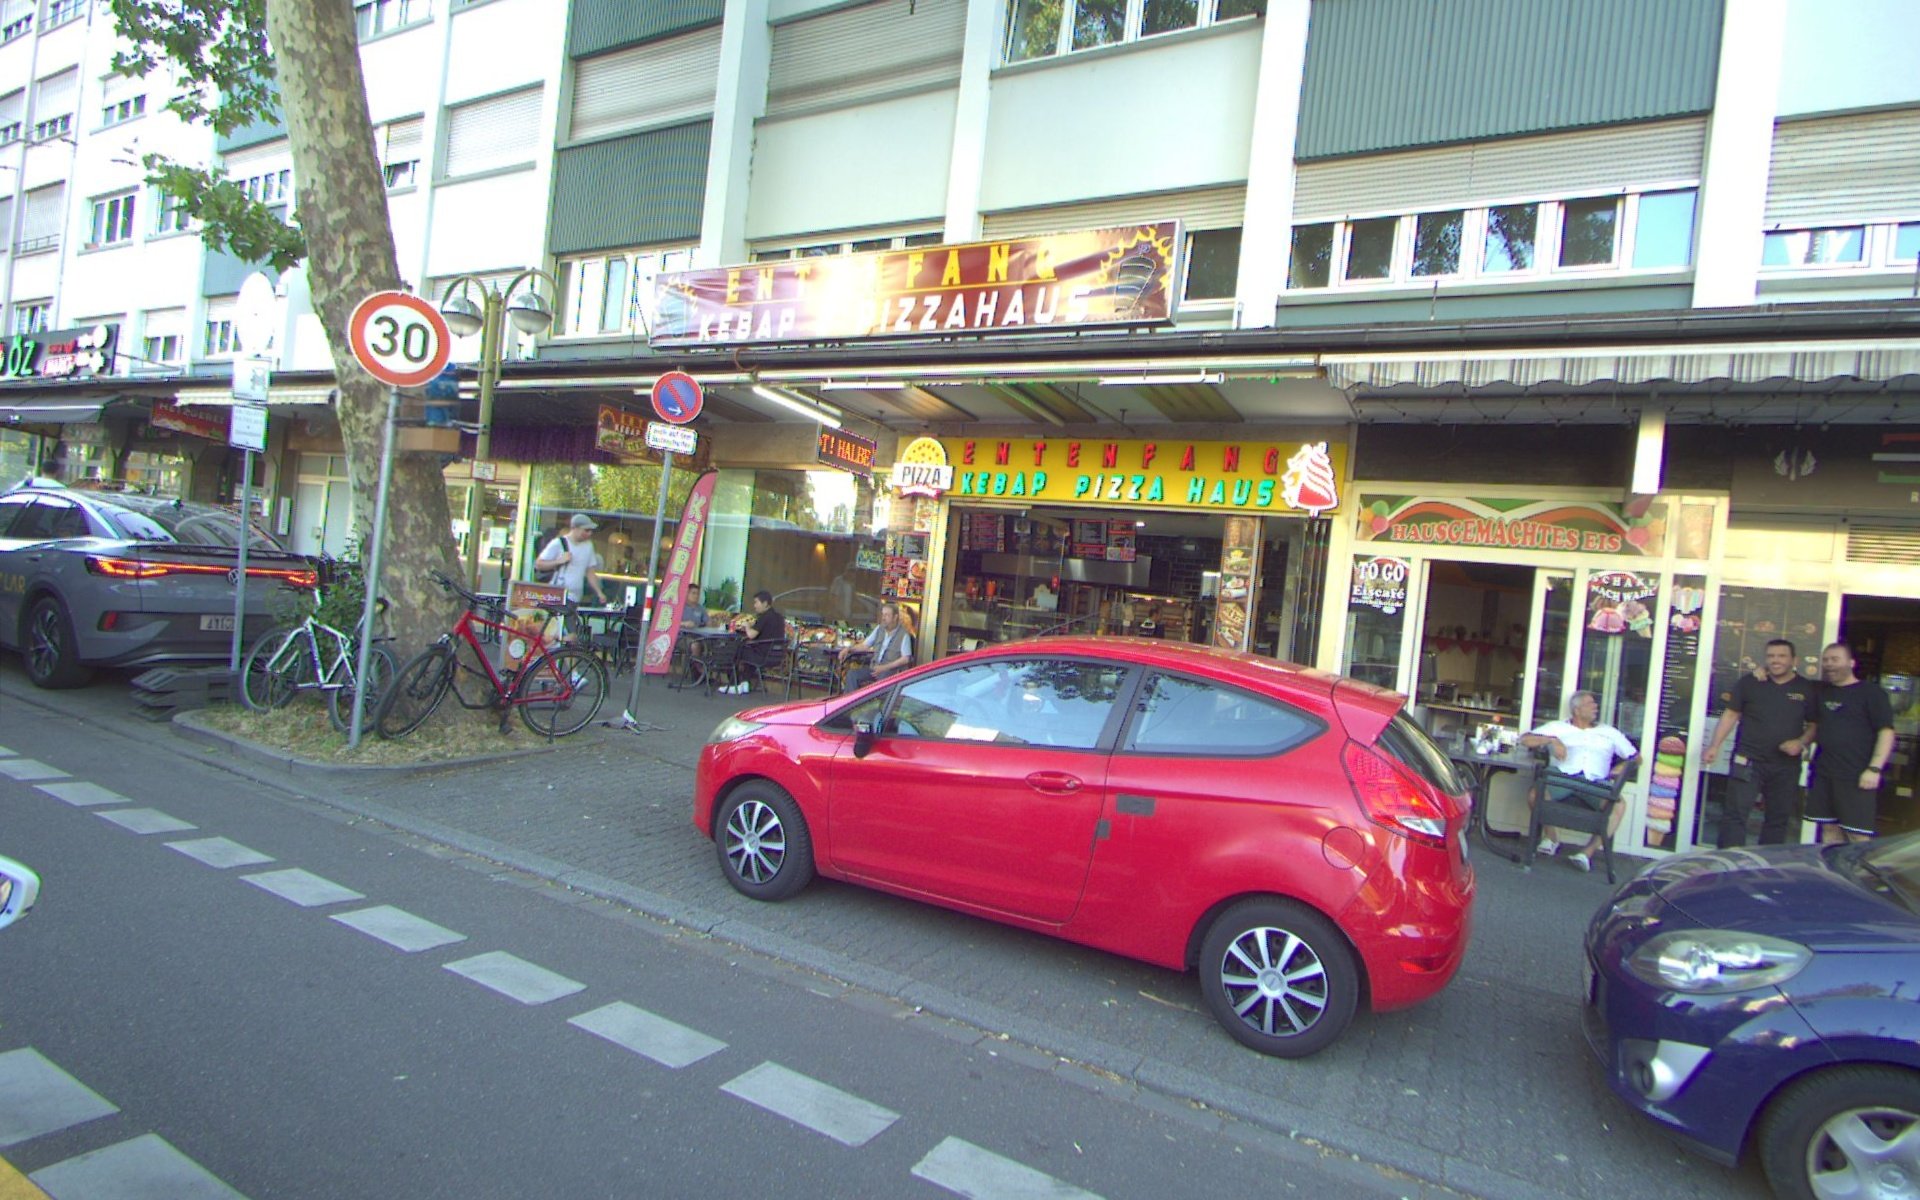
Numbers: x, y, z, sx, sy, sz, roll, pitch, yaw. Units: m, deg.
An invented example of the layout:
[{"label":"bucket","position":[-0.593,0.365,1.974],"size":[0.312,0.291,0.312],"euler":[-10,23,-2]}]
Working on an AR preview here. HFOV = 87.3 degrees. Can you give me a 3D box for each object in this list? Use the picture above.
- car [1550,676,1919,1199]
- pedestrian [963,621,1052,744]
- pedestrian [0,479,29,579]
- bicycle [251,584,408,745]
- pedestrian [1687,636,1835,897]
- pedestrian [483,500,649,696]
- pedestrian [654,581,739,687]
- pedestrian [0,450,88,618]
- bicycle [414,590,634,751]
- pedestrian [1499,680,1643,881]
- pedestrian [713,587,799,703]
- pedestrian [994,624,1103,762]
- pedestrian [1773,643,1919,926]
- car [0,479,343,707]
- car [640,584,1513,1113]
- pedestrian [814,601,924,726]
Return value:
[{"label":"car","position":[3.870,1.229,2.903],"size":[3.543,1.485,1.620],"euler":[7,2,29]},{"label":"pedestrian","position":[0.491,0.831,10.380],"size":[0.585,1.172,0.671],"euler":[6,3,31]},{"label":"pedestrian","position":[-20.256,-1.522,21.205],"size":[0.685,2.039,0.613],"euler":[7,1,31]},{"label":"bicycle","position":[-4.446,0.431,7.077],"size":[1.110,0.941,0.295],"euler":[9,6,21]},{"label":"pedestrian","position":[5.843,1.176,7.381],"size":[0.588,1.759,0.587],"euler":[8,3,32]},{"label":"pedestrian","position":[-4.196,-0.010,10.744],"size":[1.104,1.913,1.023],"euler":[6,0,31]},{"label":"pedestrian","position":[-3.237,0.413,12.359],"size":[0.694,1.220,0.675],"euler":[7,3,42]},{"label":"pedestrian","position":[-11.847,-0.833,12.876],"size":[0.702,2.040,0.769],"euler":[7,2,31]},{"label":"bicycle","position":[-3.234,0.510,7.556],"size":[0.291,1.082,1.455],"euler":[12,7,42]},{"label":"pedestrian","position":[4.635,1.302,7.621],"size":[0.767,1.249,1.202],"euler":[6,3,33]},{"label":"pedestrian","position":[-2.392,0.515,11.796],"size":[0.701,1.260,0.614],"euler":[7,3,41]},{"label":"pedestrian","position":[0.831,0.844,9.410],"size":[0.740,1.172,0.593],"euler":[6,3,33]},{"label":"pedestrian","position":[6.200,1.221,6.957],"size":[0.636,1.783,0.610],"euler":[8,3,33]},{"label":"car","position":[-7.842,-0.199,9.211],"size":[4.223,1.619,1.742],"euler":[7,2,27]},{"label":"car","position":[0.476,0.852,4.992],"size":[3.780,1.448,1.668],"euler":[7,2,27]},{"label":"pedestrian","position":[-0.980,0.668,10.864],"size":[0.861,1.237,0.688],"euler":[2,3,-44]}]
